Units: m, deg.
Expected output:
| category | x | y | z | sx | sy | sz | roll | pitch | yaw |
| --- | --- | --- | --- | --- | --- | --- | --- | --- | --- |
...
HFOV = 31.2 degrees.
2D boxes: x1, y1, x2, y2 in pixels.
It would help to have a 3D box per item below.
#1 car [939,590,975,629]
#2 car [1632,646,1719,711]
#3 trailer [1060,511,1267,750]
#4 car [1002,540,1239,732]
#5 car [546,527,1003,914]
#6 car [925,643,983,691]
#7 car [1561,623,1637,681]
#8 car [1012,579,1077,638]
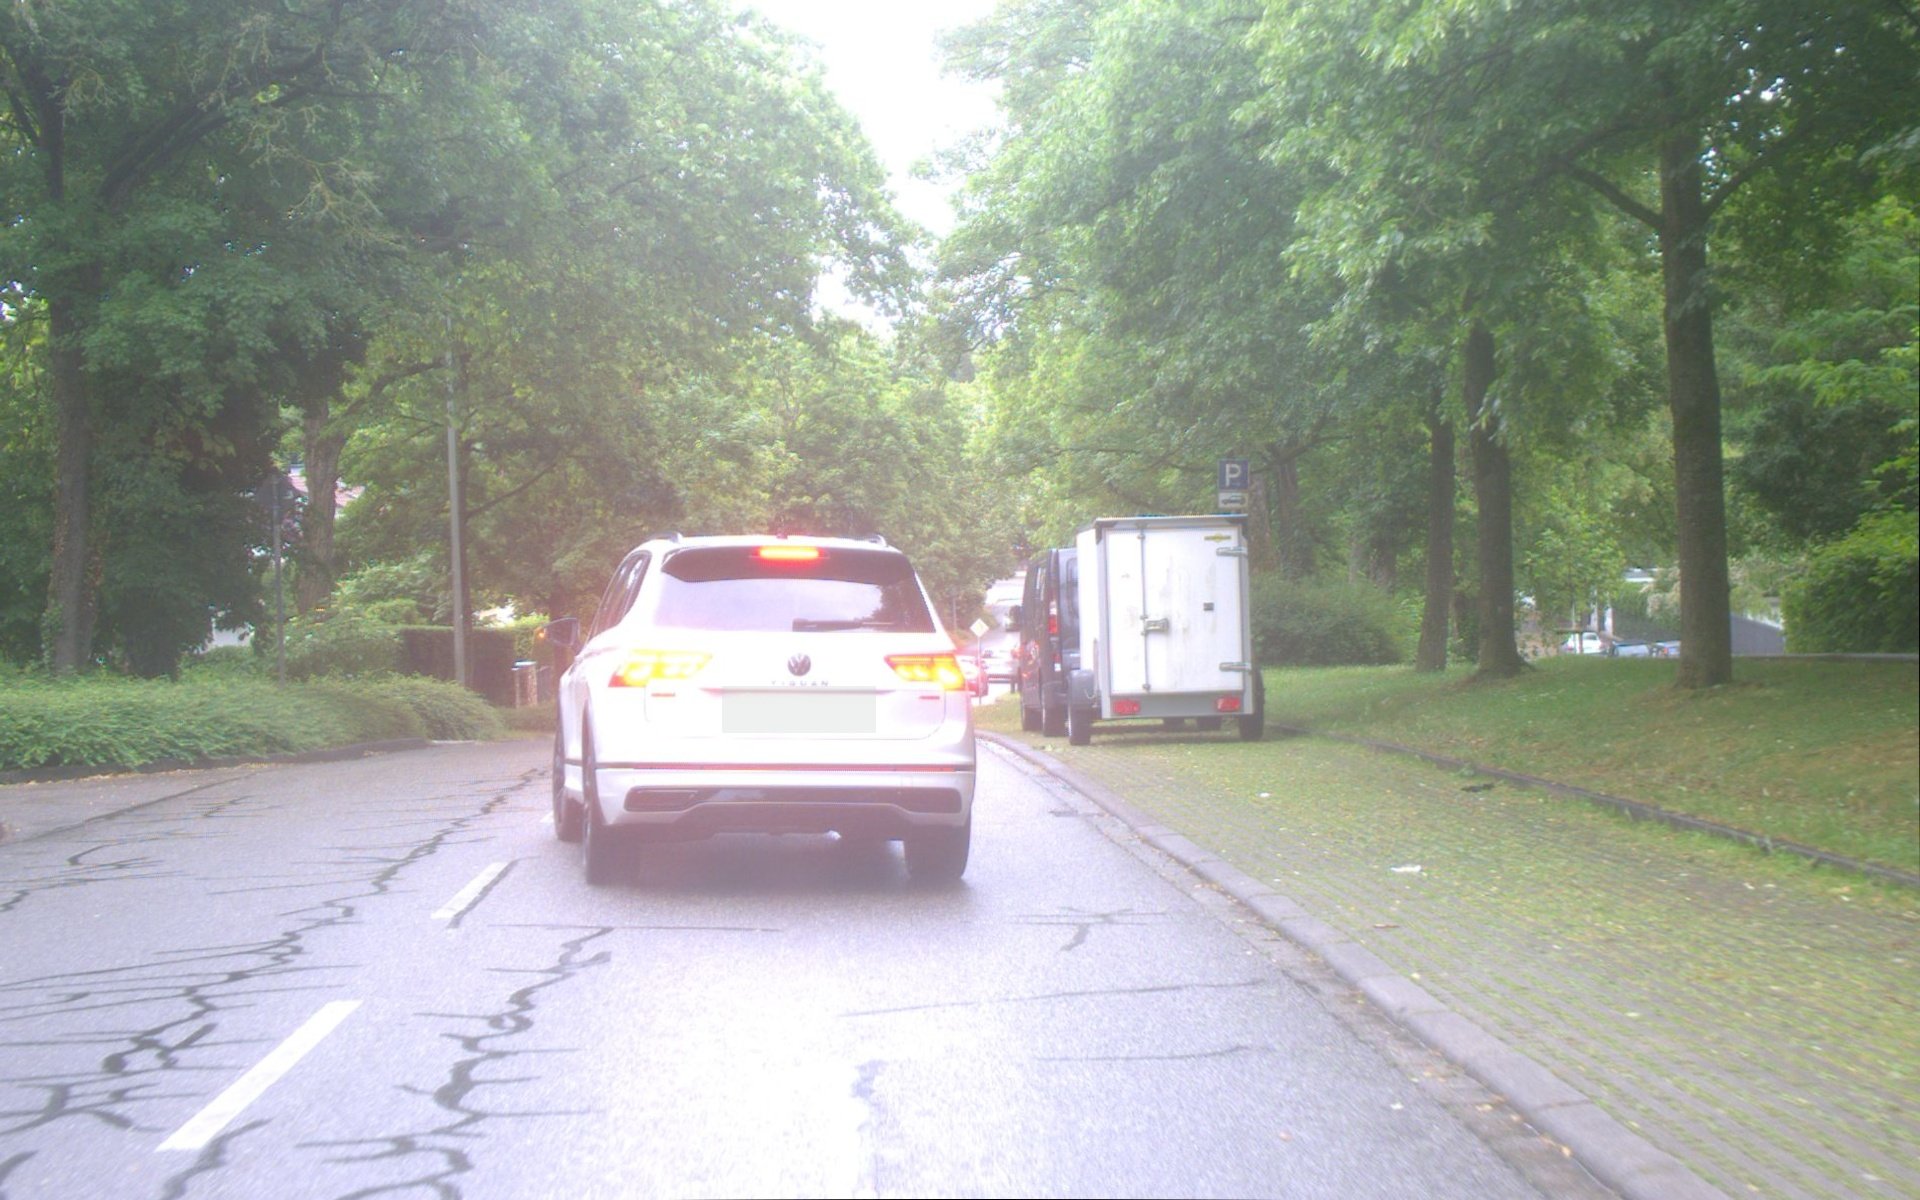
| category | x | y | z | sx | sy | sz | roll | pitch | yaw |
| --- | --- | --- | --- | --- | --- | --- | --- | --- | --- |
| car | -0.184 | 0.561 | 202.789 | 1.993 | 2.006 | 4.001 | -1 | 4 | -1 |
| car | 24.730 | 2.701 | 118.899 | 1.993 | 2.007 | 4.001 | -2 | 1 | -2 |
| trailer | 1.869 | 0.287 | 32.648 | 1.530 | 2.068 | 4.000 | -2 | 0 | -2 |
| car | 1.660 | 0.407 | 37.504 | 1.993 | 1.903 | 5.509 | -1 | -1 | -3 |
| car | -1.071 | 0.528 | 17.464 | 1.905 | 1.679 | 4.201 | -1 | 0 | -8 |
| car | -0.247 | 2.471 | 125.750 | 1.856 | 1.686 | 4.000 | -1 | -1 | -4 |
| car | 24.419 | 1.967 | 131.489 | 1.993 | 2.007 | 4.001 | -2 | 1 | -2 |
| car | 3.033 | 0.329 | 124.139 | 1.993 | 2.007 | 4.000 | -1 | -2 | -3 |
